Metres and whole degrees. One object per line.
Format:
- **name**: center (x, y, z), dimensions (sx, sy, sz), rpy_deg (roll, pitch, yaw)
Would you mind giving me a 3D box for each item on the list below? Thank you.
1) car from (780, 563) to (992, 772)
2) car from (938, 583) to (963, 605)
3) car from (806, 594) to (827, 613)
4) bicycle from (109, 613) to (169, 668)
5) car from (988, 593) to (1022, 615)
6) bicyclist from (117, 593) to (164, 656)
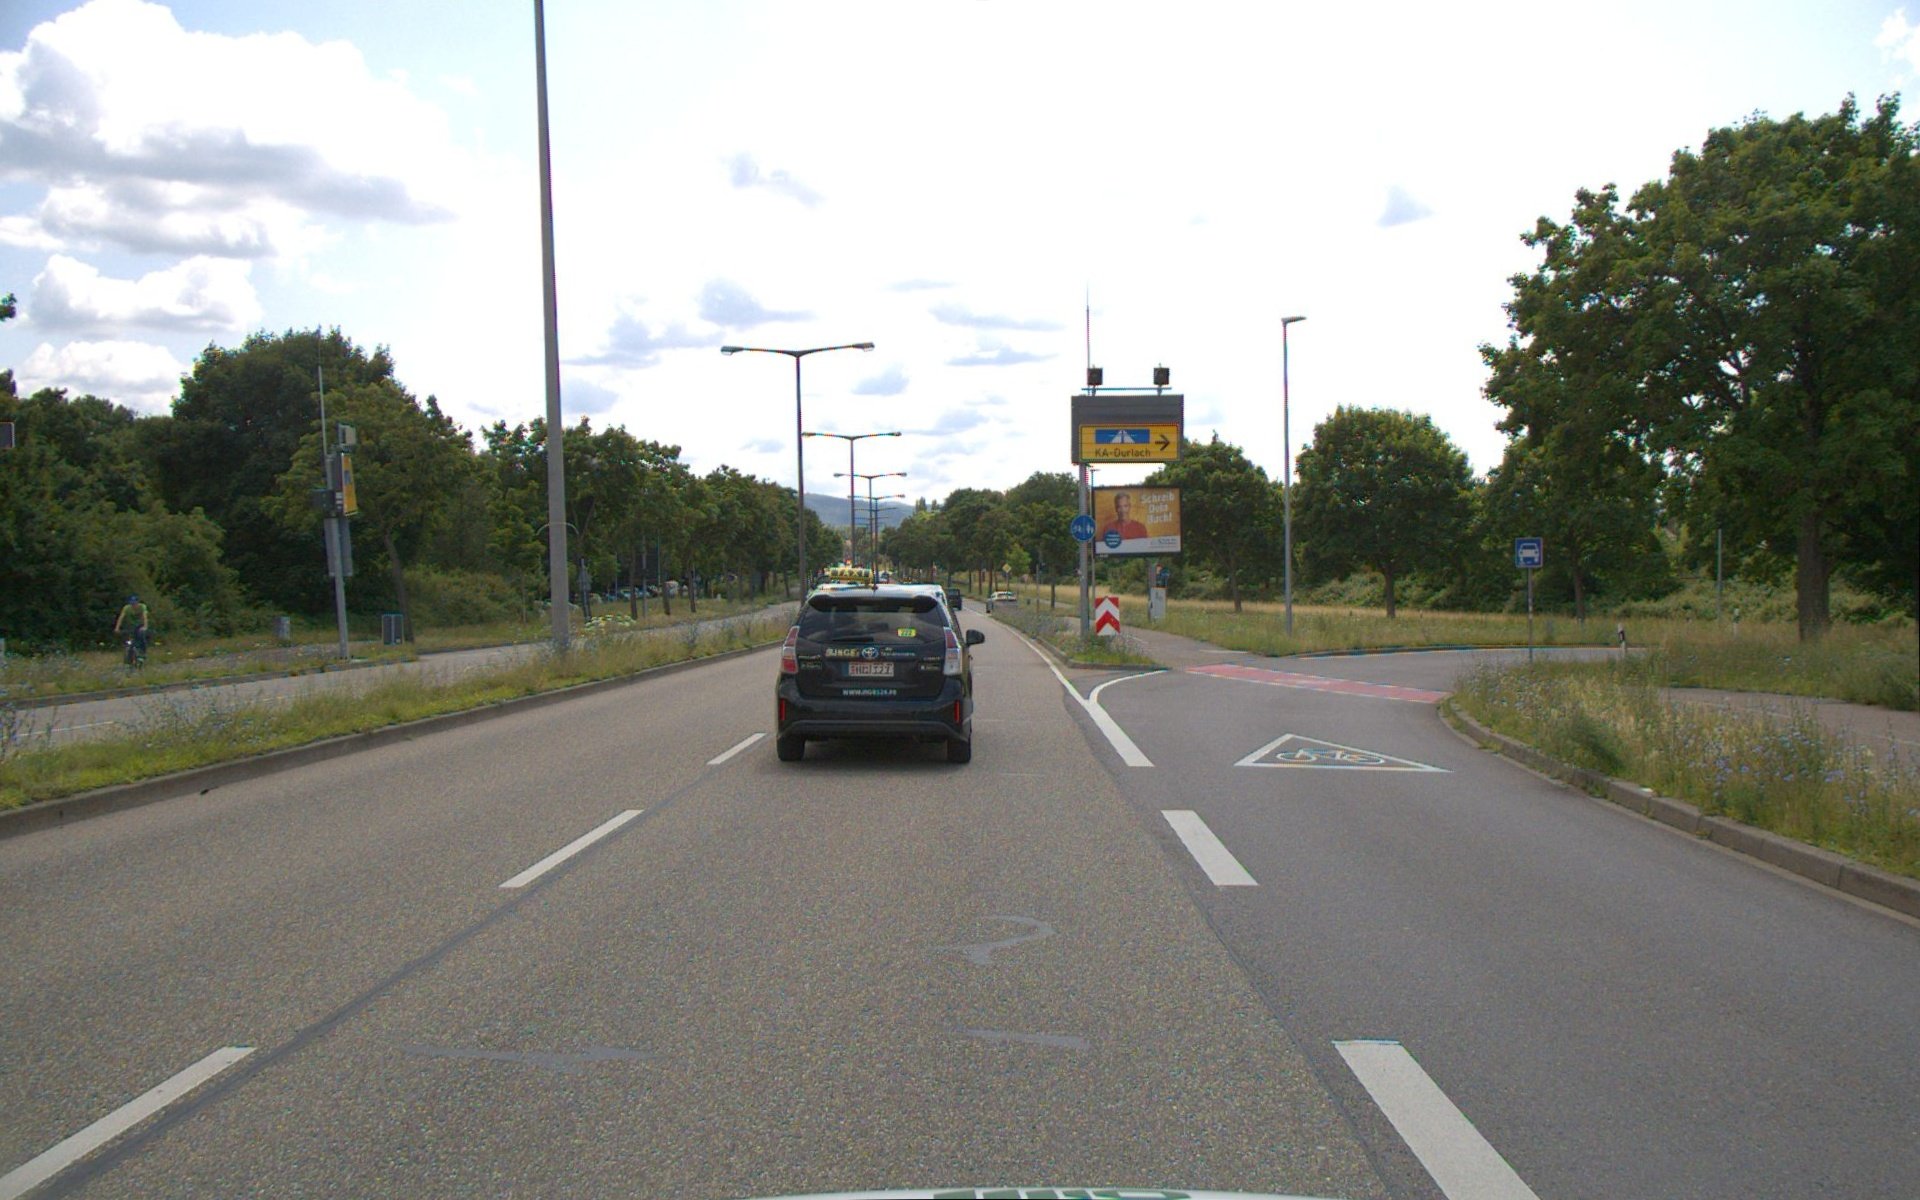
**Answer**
- **car**: center (-0.706, 0.517, 15.696), dimensions (1.744, 1.713, 3.998), rpy_deg (0, 1, -3)
- **car**: center (-0.811, -0.497, 137.480), dimensions (1.953, 1.691, 3.999), rpy_deg (0, 1, -2)
- **car**: center (-14.624, 0.370, 168.956), dimensions (1.839, 1.821, 4.726), rpy_deg (-3, 0, -2)
- **bicycle**: center (-17.688, 0.868, 35.661), dimensions (0.423, 1.087, 1.907), rpy_deg (0, 1, -3)
- **car**: center (3.457, 0.300, 127.394), dimensions (1.956, 1.534, 3.993), rpy_deg (0, 1, -9)
- **bicyclist**: center (-17.702, 0.521, 35.752), dimensions (0.510, 1.294, 1.106), rpy_deg (0, 1, -3)
